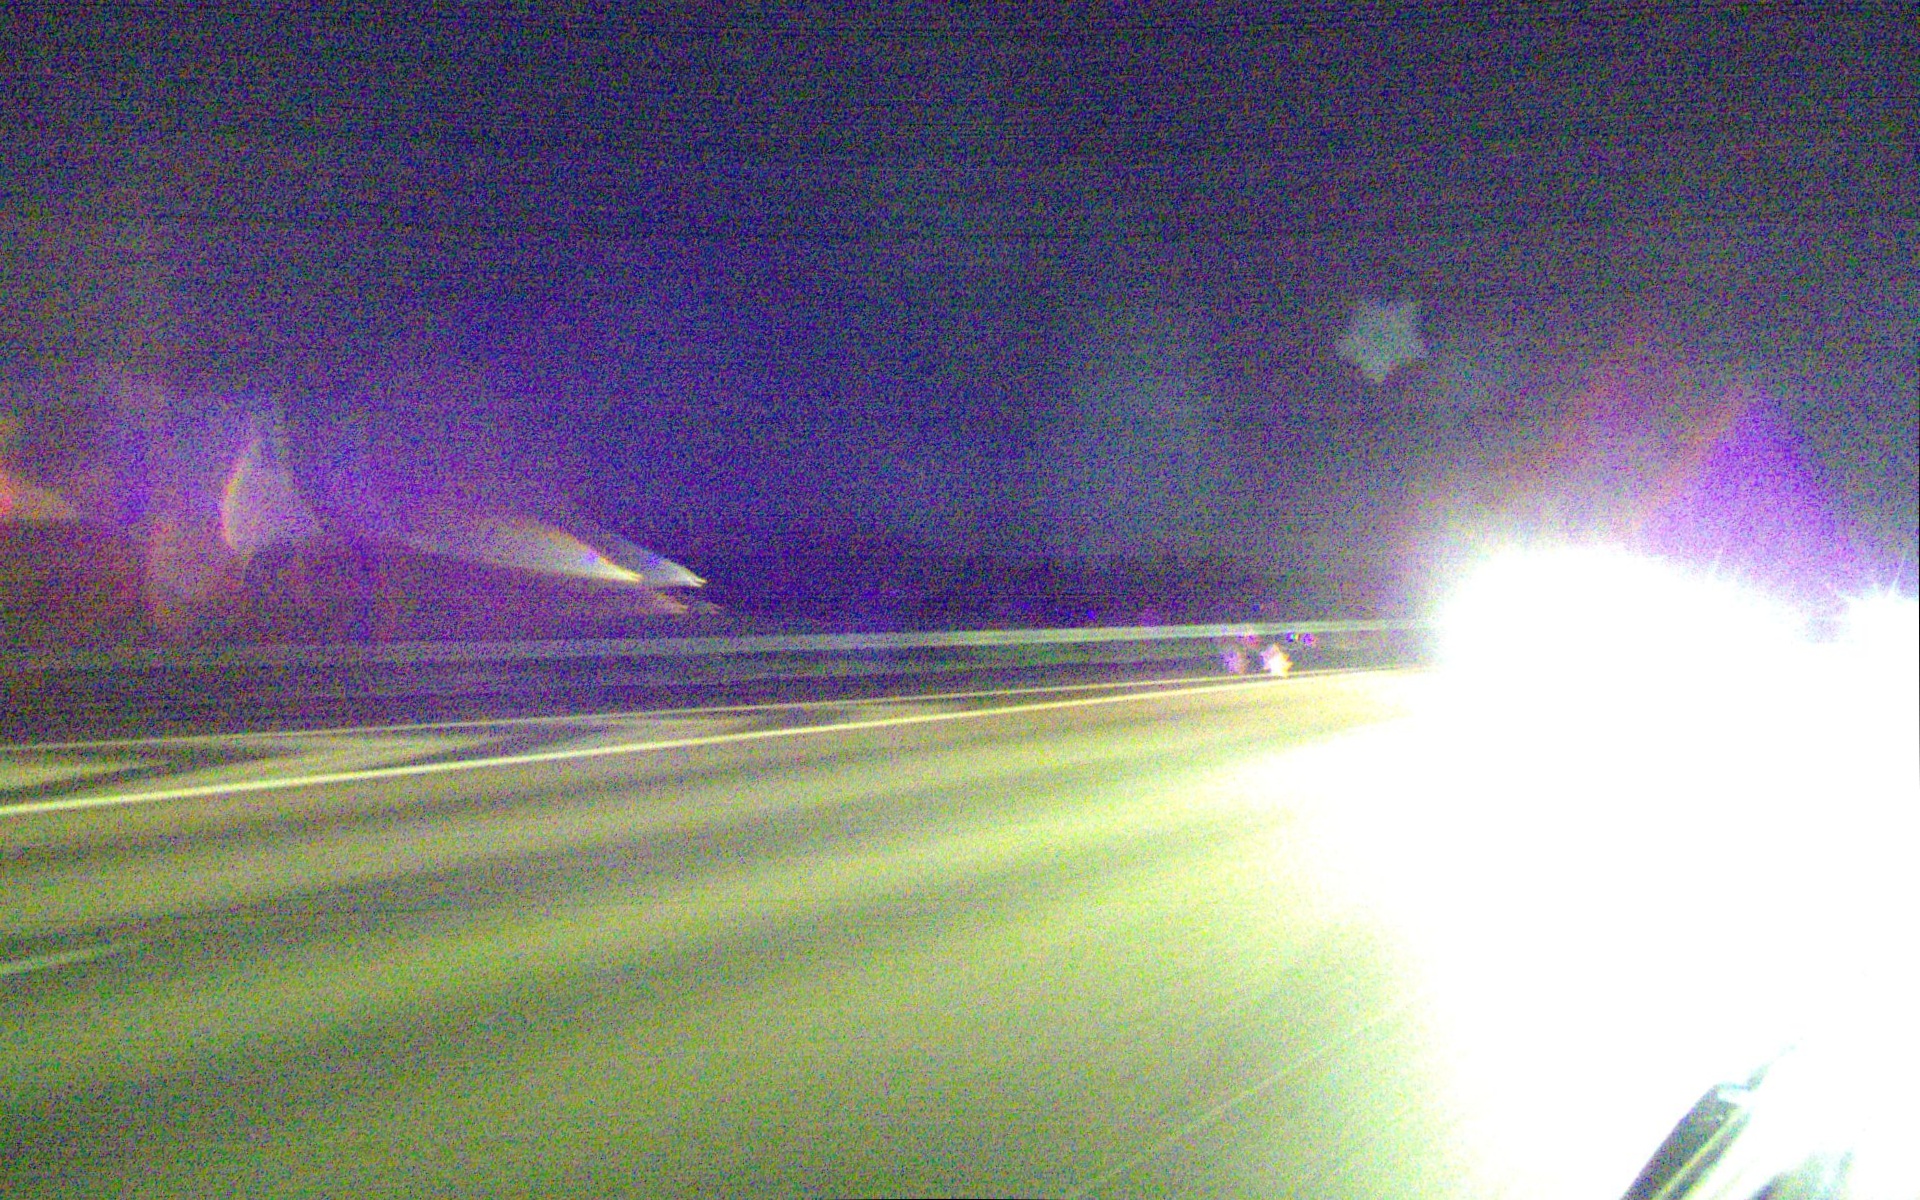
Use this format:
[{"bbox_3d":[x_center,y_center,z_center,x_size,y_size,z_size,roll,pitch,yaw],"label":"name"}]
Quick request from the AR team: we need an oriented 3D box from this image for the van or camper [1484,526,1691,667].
[{"bbox_3d":[14.543,-0.087,23.224,6.686,2.806,2.210,0,0,-41],"label":"van or camper"}]

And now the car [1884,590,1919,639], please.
[{"bbox_3d":[32.750,0.484,34.171,4.151,1.560,1.794,0,2,-41],"label":"car"}]

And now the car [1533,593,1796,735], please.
[{"bbox_3d":[8.766,0.646,12.453,4.152,1.431,1.689,0,1,-41],"label":"car"}]
